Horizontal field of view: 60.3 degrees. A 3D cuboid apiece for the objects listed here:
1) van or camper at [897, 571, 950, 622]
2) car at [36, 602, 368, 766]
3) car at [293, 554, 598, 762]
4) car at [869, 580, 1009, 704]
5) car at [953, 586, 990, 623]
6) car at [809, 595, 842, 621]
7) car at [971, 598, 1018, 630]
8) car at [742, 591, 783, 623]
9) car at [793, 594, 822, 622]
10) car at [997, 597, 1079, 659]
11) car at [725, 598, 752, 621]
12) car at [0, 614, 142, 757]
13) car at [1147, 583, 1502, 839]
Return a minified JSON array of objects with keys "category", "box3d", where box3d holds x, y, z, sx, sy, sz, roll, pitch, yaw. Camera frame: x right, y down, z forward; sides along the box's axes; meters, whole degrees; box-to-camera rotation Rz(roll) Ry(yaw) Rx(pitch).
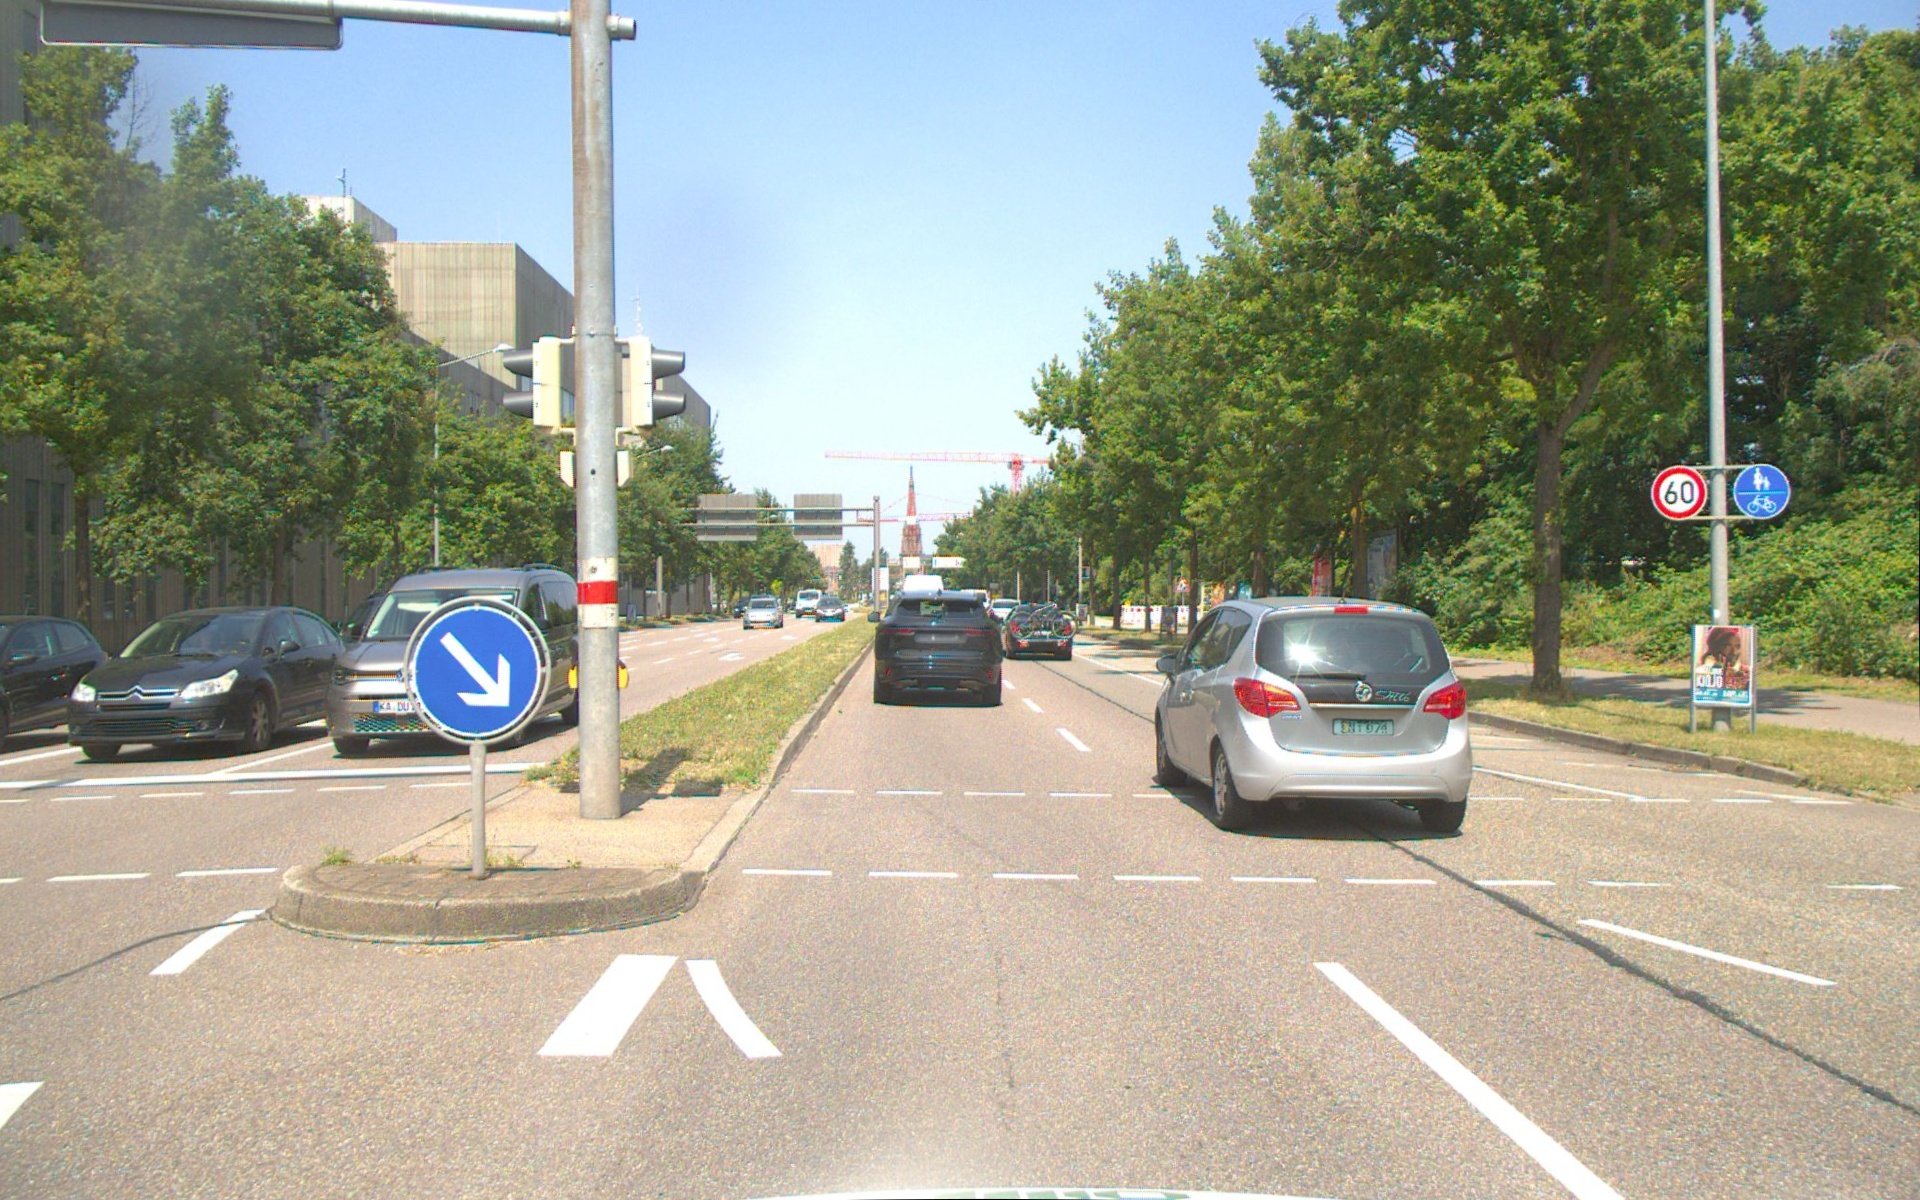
[{"category":"van or camper","box3d":[-1.763,-0.138,78.424,2.443,2.331,4.918,0,0,-2]},{"category":"car","box3d":[-7.859,0.788,17.624,1.774,1.471,4.247,-1,0,-4]},{"category":"car","box3d":[-5.196,0.510,17.420,1.773,1.832,4.712,-2,0,-1]},{"category":"car","box3d":[-0.309,0.592,25.389,1.957,1.719,4.033,1,0,0]},{"category":"car","box3d":[0.618,0.245,92.991,1.953,2.049,3.999,0,0,-1]},{"category":"car","box3d":[-8.029,0.479,99.047,1.774,1.492,4.056,-2,0,-2]},{"category":"car","box3d":[1.516,0.638,74.709,1.622,1.380,4.455,0,0,-6]},{"category":"car","box3d":[-9.752,0.333,81.935,1.731,1.486,4.142,-2,0,-4]},{"category":"car","box3d":[-11.326,0.566,123.207,1.871,2.028,4.895,-2,0,-2]},{"category":"car","box3d":[2.023,0.717,43.997,1.973,1.544,4.460,0,0,0]},{"category":"car","box3d":[-17.822,0.748,133.204,1.774,1.777,4.643,-2,0,-4]},{"category":"car","box3d":[-10.964,0.927,18.440,1.774,1.442,4.247,-1,0,-4]},{"category":"car","box3d":[2.587,0.710,12.653,1.756,1.640,3.889,0,0,-2]}]
